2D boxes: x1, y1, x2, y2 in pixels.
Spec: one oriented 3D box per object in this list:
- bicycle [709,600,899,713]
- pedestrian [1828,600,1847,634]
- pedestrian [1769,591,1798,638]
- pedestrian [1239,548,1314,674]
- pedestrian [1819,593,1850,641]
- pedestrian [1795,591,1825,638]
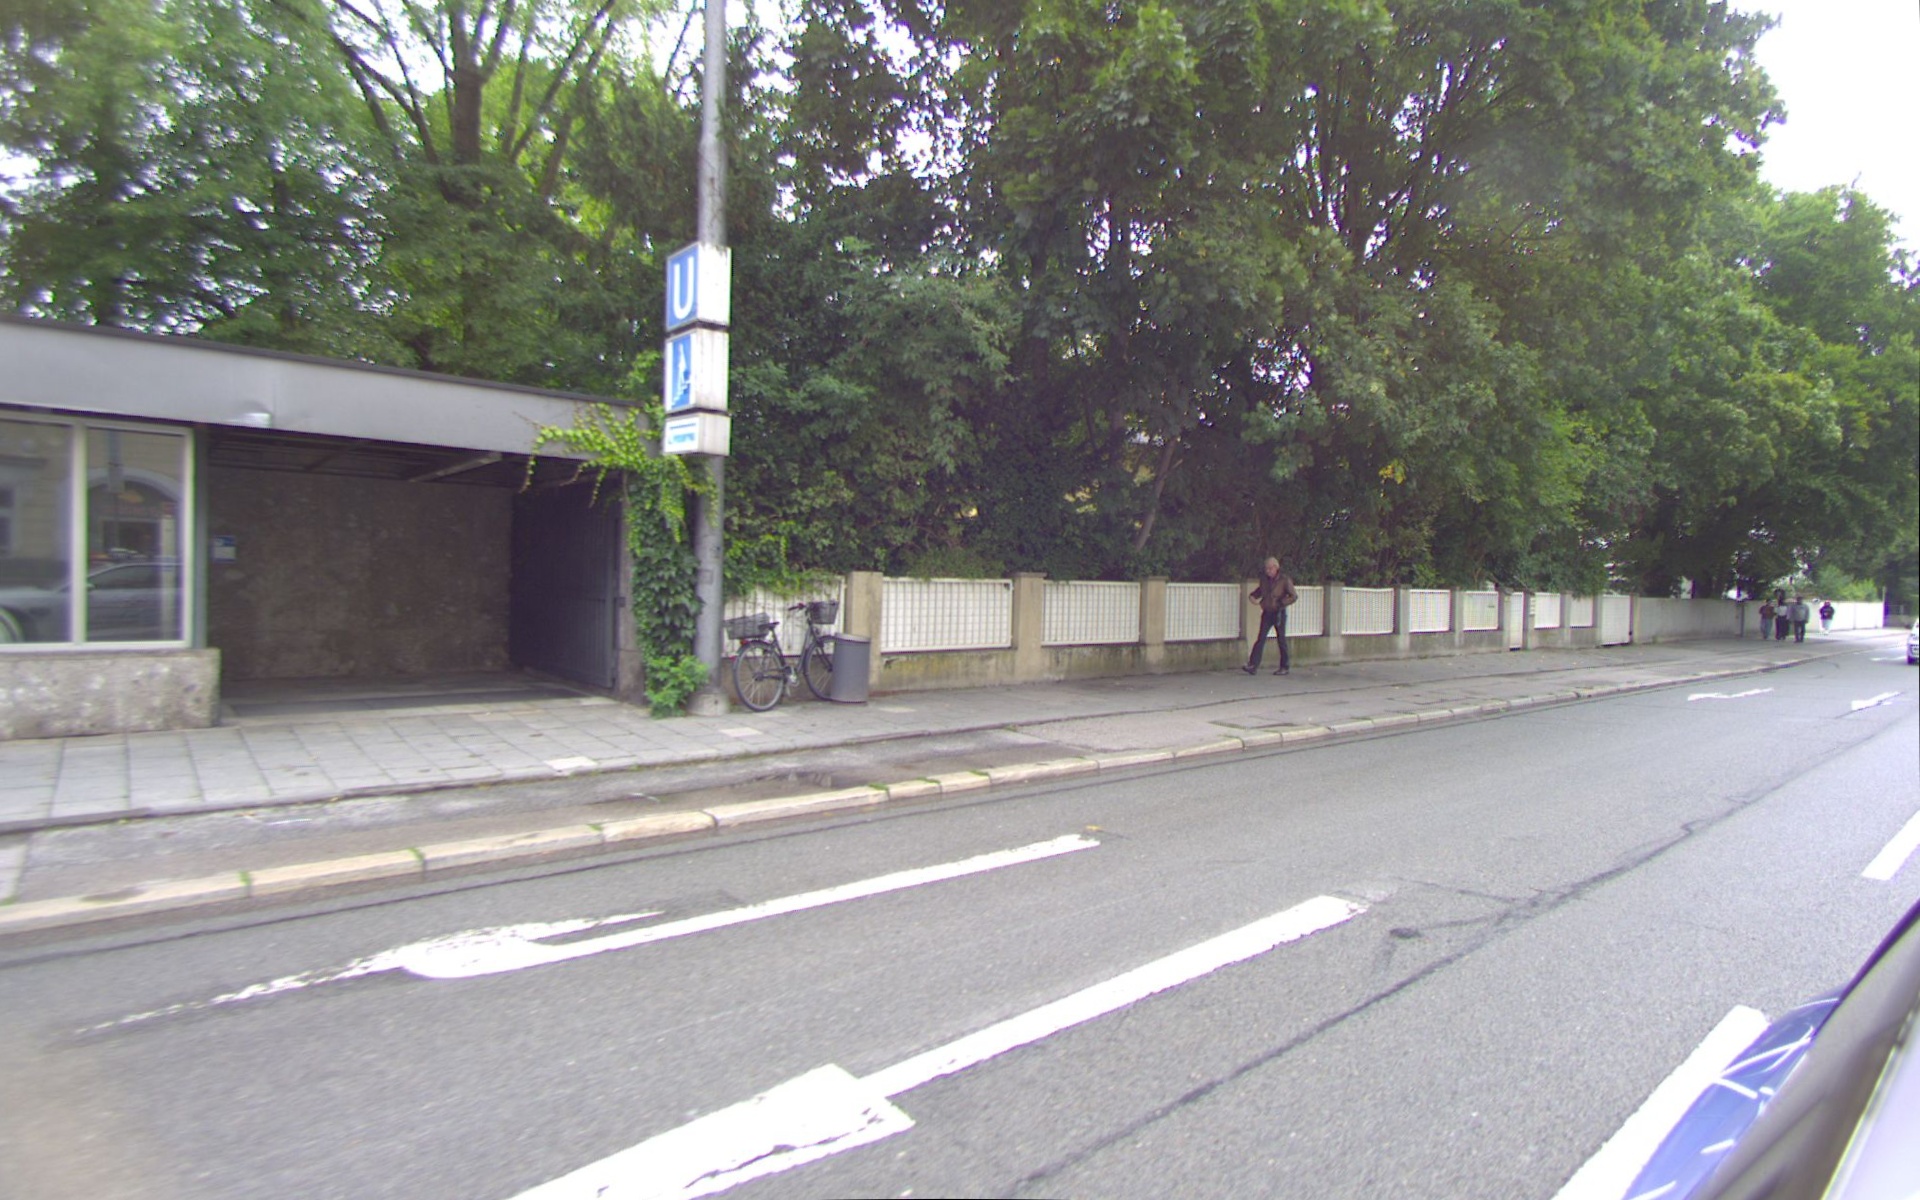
[{"bbox_3d":[-1.642,0.561,10.893,1.990,1.104,0.623,0,1,-41],"label":"bicycle"},{"bbox_3d":[42.454,0.829,48.959,0.716,1.600,0.529,1,3,-41],"label":"pedestrian"},{"bbox_3d":[31.221,0.552,38.363,0.753,1.726,0.667,1,3,-41],"label":"pedestrian"},{"bbox_3d":[5.102,0.161,16.324,0.788,1.966,0.779,1,2,-40],"label":"pedestrian"},{"bbox_3d":[32.214,0.617,37.278,0.716,1.743,0.667,1,3,-41],"label":"pedestrian"},{"bbox_3d":[31.758,0.544,37.814,0.716,1.713,0.667,1,3,-41],"label":"pedestrian"}]
